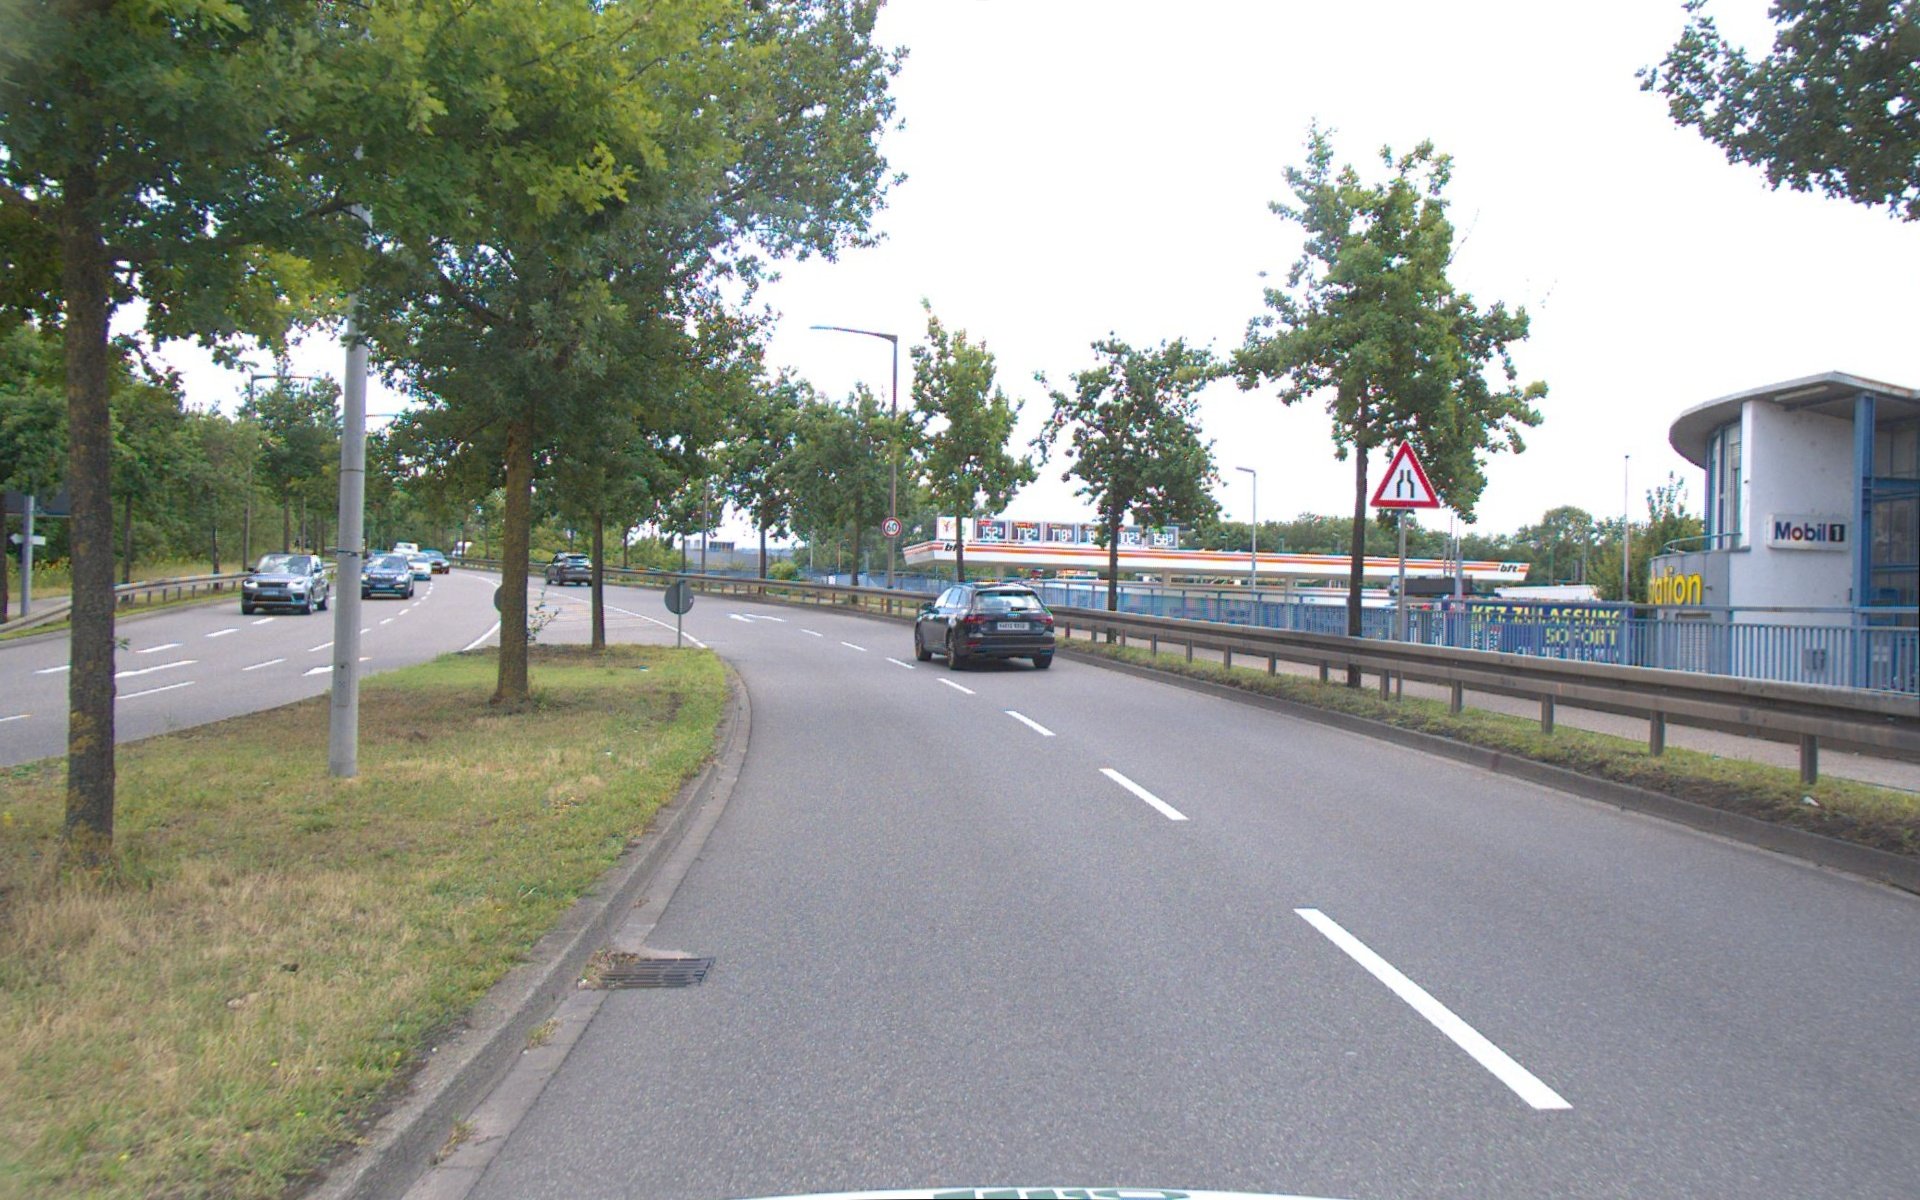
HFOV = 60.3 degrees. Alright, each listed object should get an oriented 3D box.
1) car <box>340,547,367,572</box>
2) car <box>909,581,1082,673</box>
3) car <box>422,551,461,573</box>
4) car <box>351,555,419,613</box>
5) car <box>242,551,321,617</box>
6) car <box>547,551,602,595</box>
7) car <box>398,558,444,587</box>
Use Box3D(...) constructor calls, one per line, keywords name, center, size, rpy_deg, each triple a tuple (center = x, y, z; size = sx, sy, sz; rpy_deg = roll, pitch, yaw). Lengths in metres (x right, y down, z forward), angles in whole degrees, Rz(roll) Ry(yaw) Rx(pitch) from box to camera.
Box3D(name="car", center=(-54.538, -3.670, 148.734), size=(1.963, 2.048, 4.536), rpy_deg=(3, 1, -18))
Box3D(name="car", center=(0.527, 0.430, 29.399), size=(1.959, 1.414, 4.560), rpy_deg=(3, 0, -13))
Box3D(name="car", center=(-32.488, -2.366, 103.718), size=(1.870, 1.387, 4.561), rpy_deg=(0, 1, -12))
Box3D(name="car", center=(-22.224, -0.641, 64.079), size=(1.960, 2.048, 4.801), rpy_deg=(2, 2, -14))
Box3D(name="car", center=(-21.091, -0.490, 51.553), size=(1.964, 1.894, 4.688), rpy_deg=(2, 0, -19))
Box3D(name="car", center=(-20.010, -1.367, 85.768), size=(1.966, 2.073, 4.679), rpy_deg=(2, -2, -23))
Box3D(name="car", center=(-28.726, -1.462, 88.265), size=(1.959, 1.420, 4.684), rpy_deg=(1, 2, -13))
